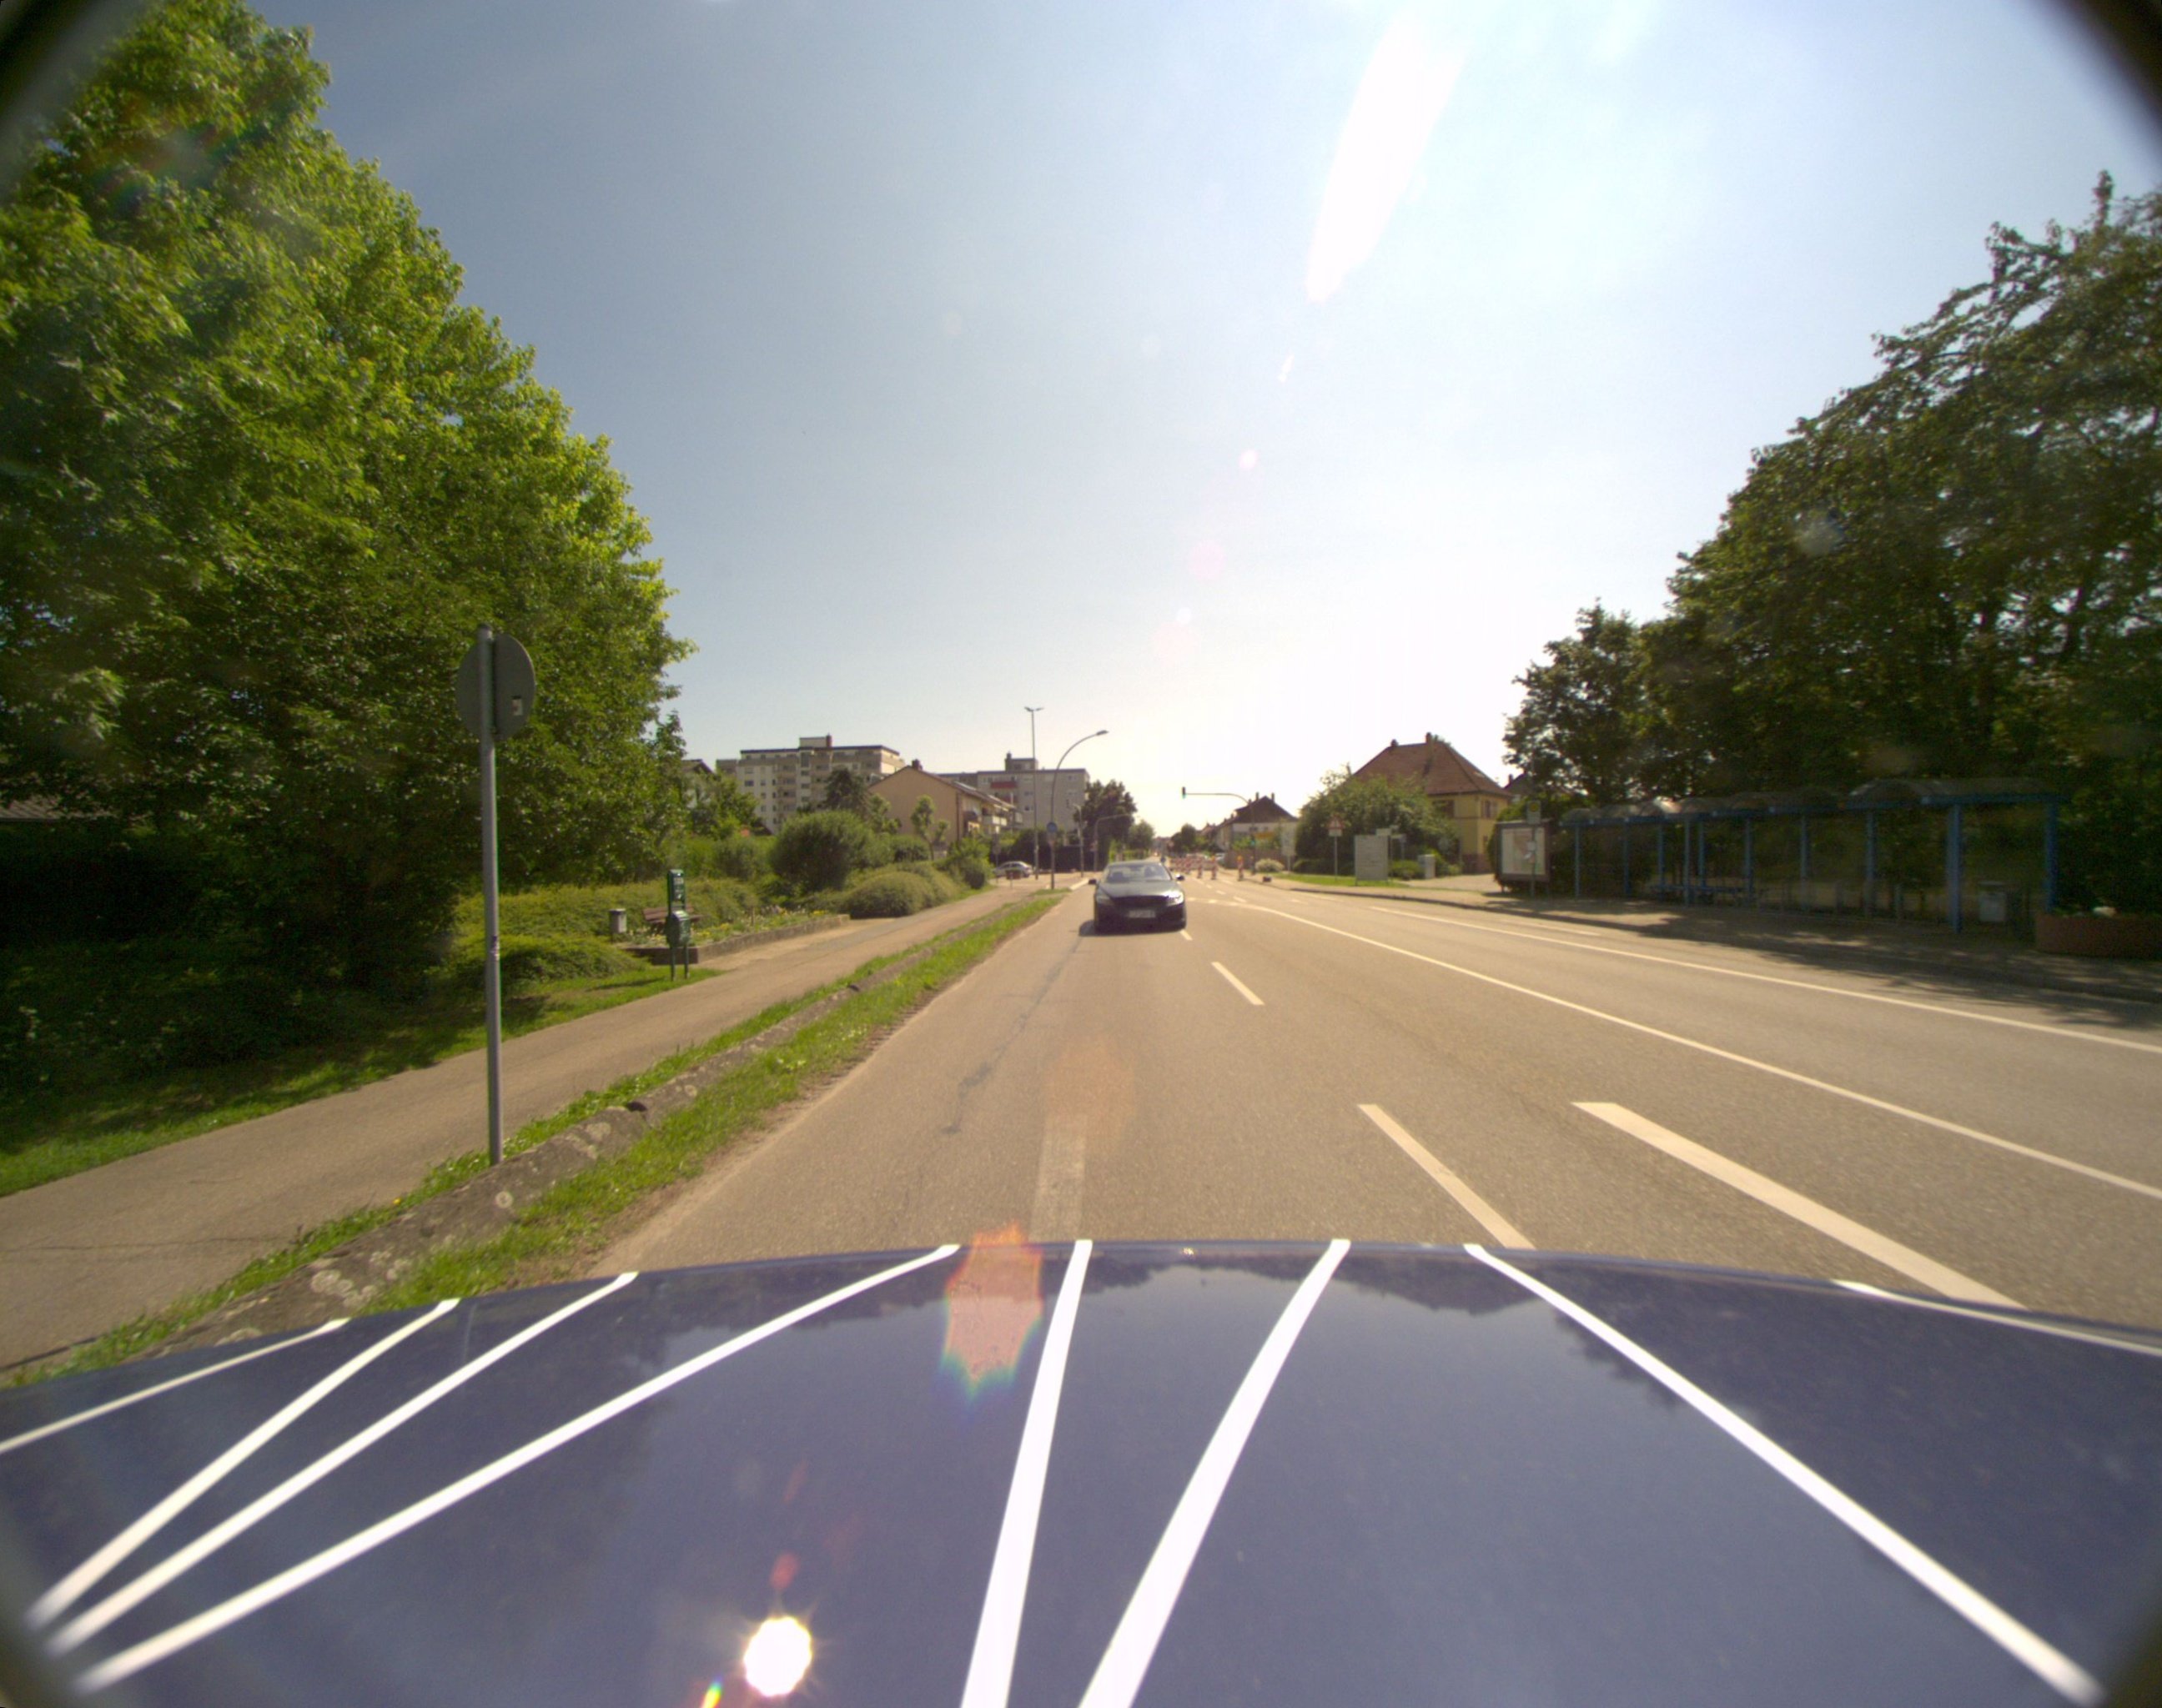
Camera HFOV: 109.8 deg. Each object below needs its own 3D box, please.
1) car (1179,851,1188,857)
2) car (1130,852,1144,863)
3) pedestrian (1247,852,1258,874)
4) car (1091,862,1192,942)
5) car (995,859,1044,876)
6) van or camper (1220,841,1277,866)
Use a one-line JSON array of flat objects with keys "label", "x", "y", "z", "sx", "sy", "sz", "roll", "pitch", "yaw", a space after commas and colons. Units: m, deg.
[{"label": "car", "x": 22.188, "y": -0.020, "z": 164.587, "sx": 1.739, "sy": 1.409, "sz": 3.917, "roll": -1, "pitch": 0, "yaw": 3}, {"label": "car", "x": 7.974, "y": 0.511, "z": 107.862, "sx": 1.871, "sy": 1.585, "sz": 4.617, "roll": -1, "pitch": 0, "yaw": 3}, {"label": "pedestrian", "x": 12.762, "y": 0.663, "z": 56.577, "sx": 0.615, "sy": 1.598, "sz": 0.688, "roll": -4, "pitch": 0, "yaw": 6}, {"label": "car", "x": 1.238, "y": 0.956, "z": 17.154, "sx": 1.889, "sy": 1.429, "sz": 4.839, "roll": -2, "pitch": 0, "yaw": 2}, {"label": "car", "x": -5.441, "y": 1.172, "z": 67.411, "sx": 3.973, "sy": 1.395, "sz": 1.706, "roll": -1, "pitch": 1, "yaw": 11}, {"label": "van or camper", "x": 20.164, "y": -0.070, "z": 91.683, "sx": 6.260, "sy": 2.827, "sz": 2.289, "roll": -1, "pitch": 1, "yaw": -4}]
